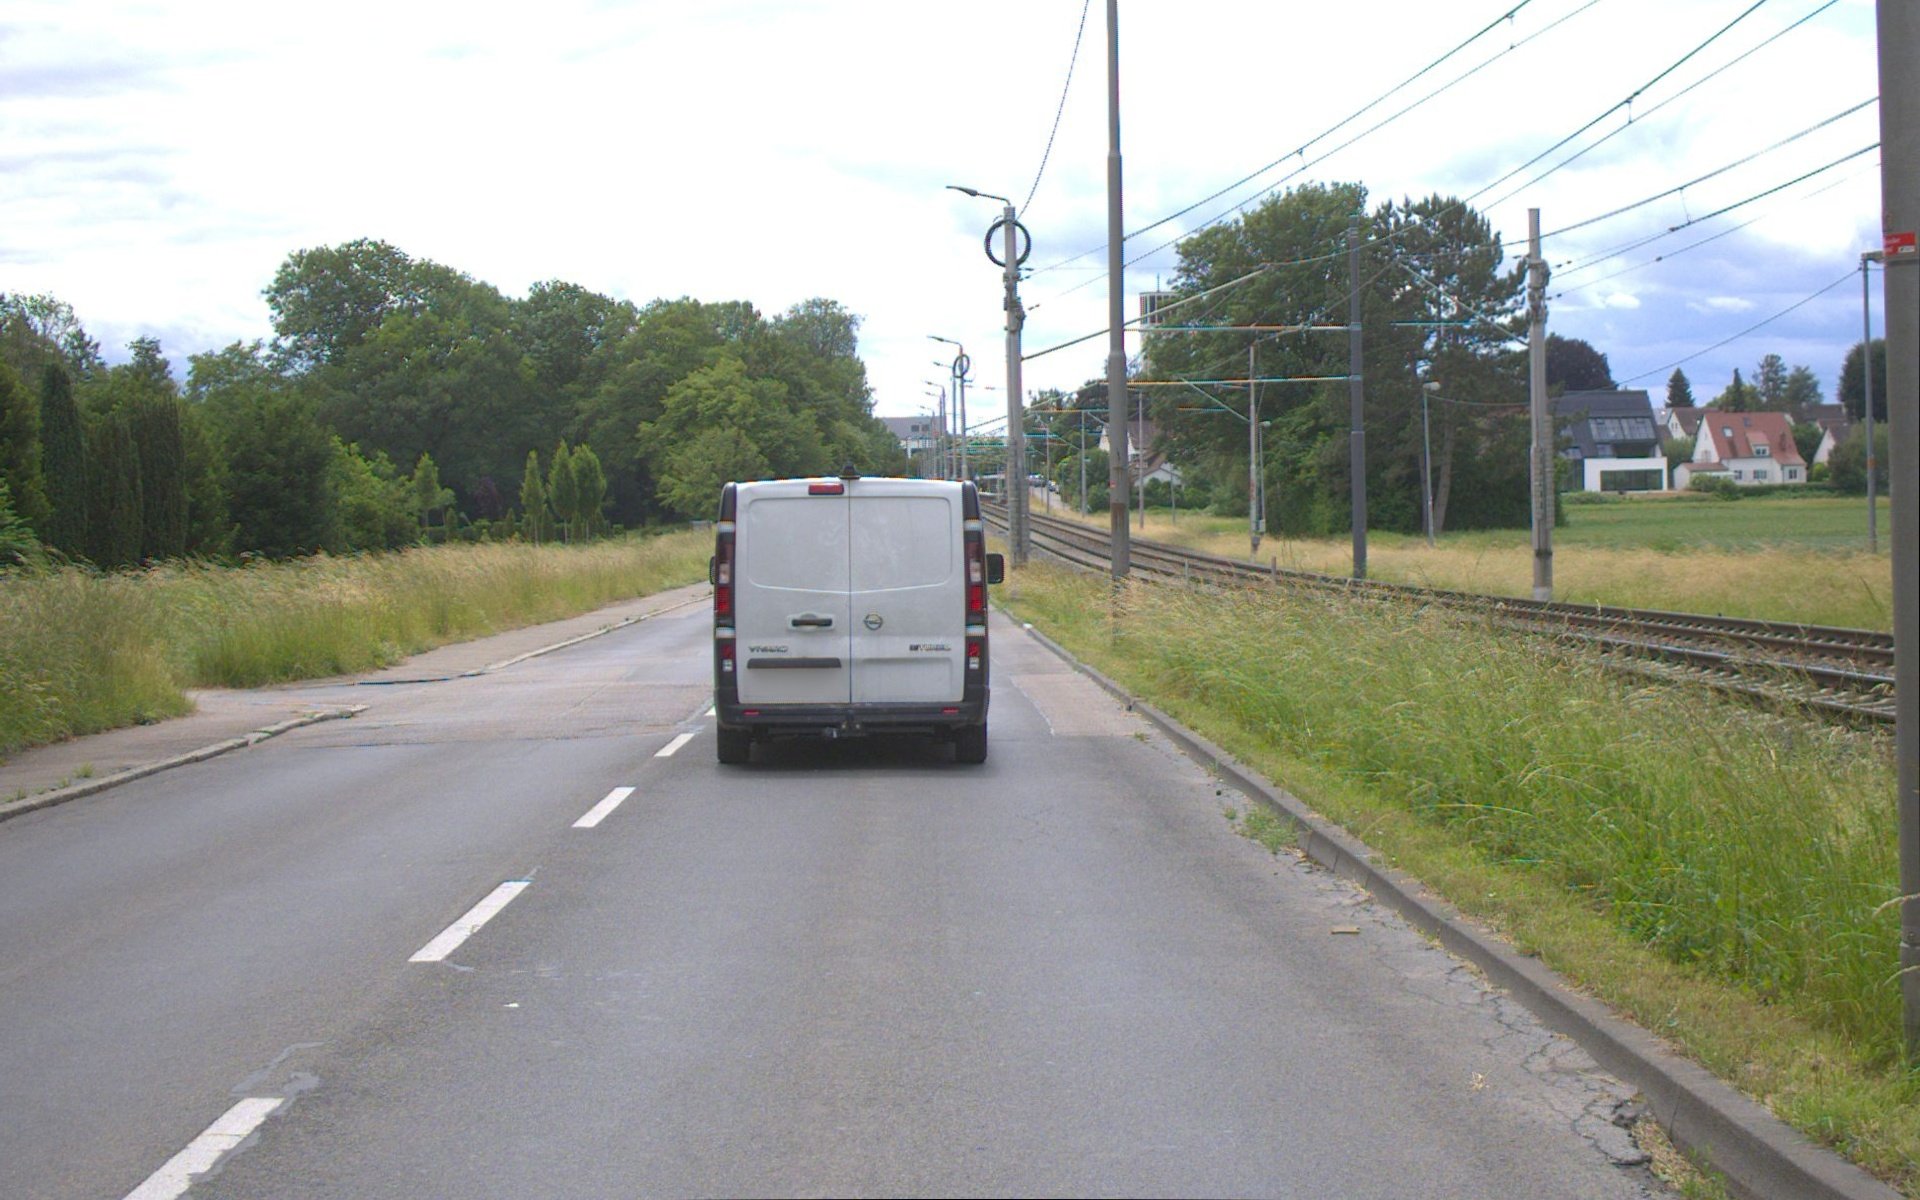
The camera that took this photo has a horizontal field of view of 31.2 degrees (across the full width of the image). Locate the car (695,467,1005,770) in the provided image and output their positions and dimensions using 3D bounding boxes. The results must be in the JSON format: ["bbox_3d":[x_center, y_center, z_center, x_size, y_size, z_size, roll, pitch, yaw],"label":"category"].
[{"bbox_3d":[-0.786,0.069,24.444,1.993,1.950,4.001,-1,1,-2],"label":"car"}]
